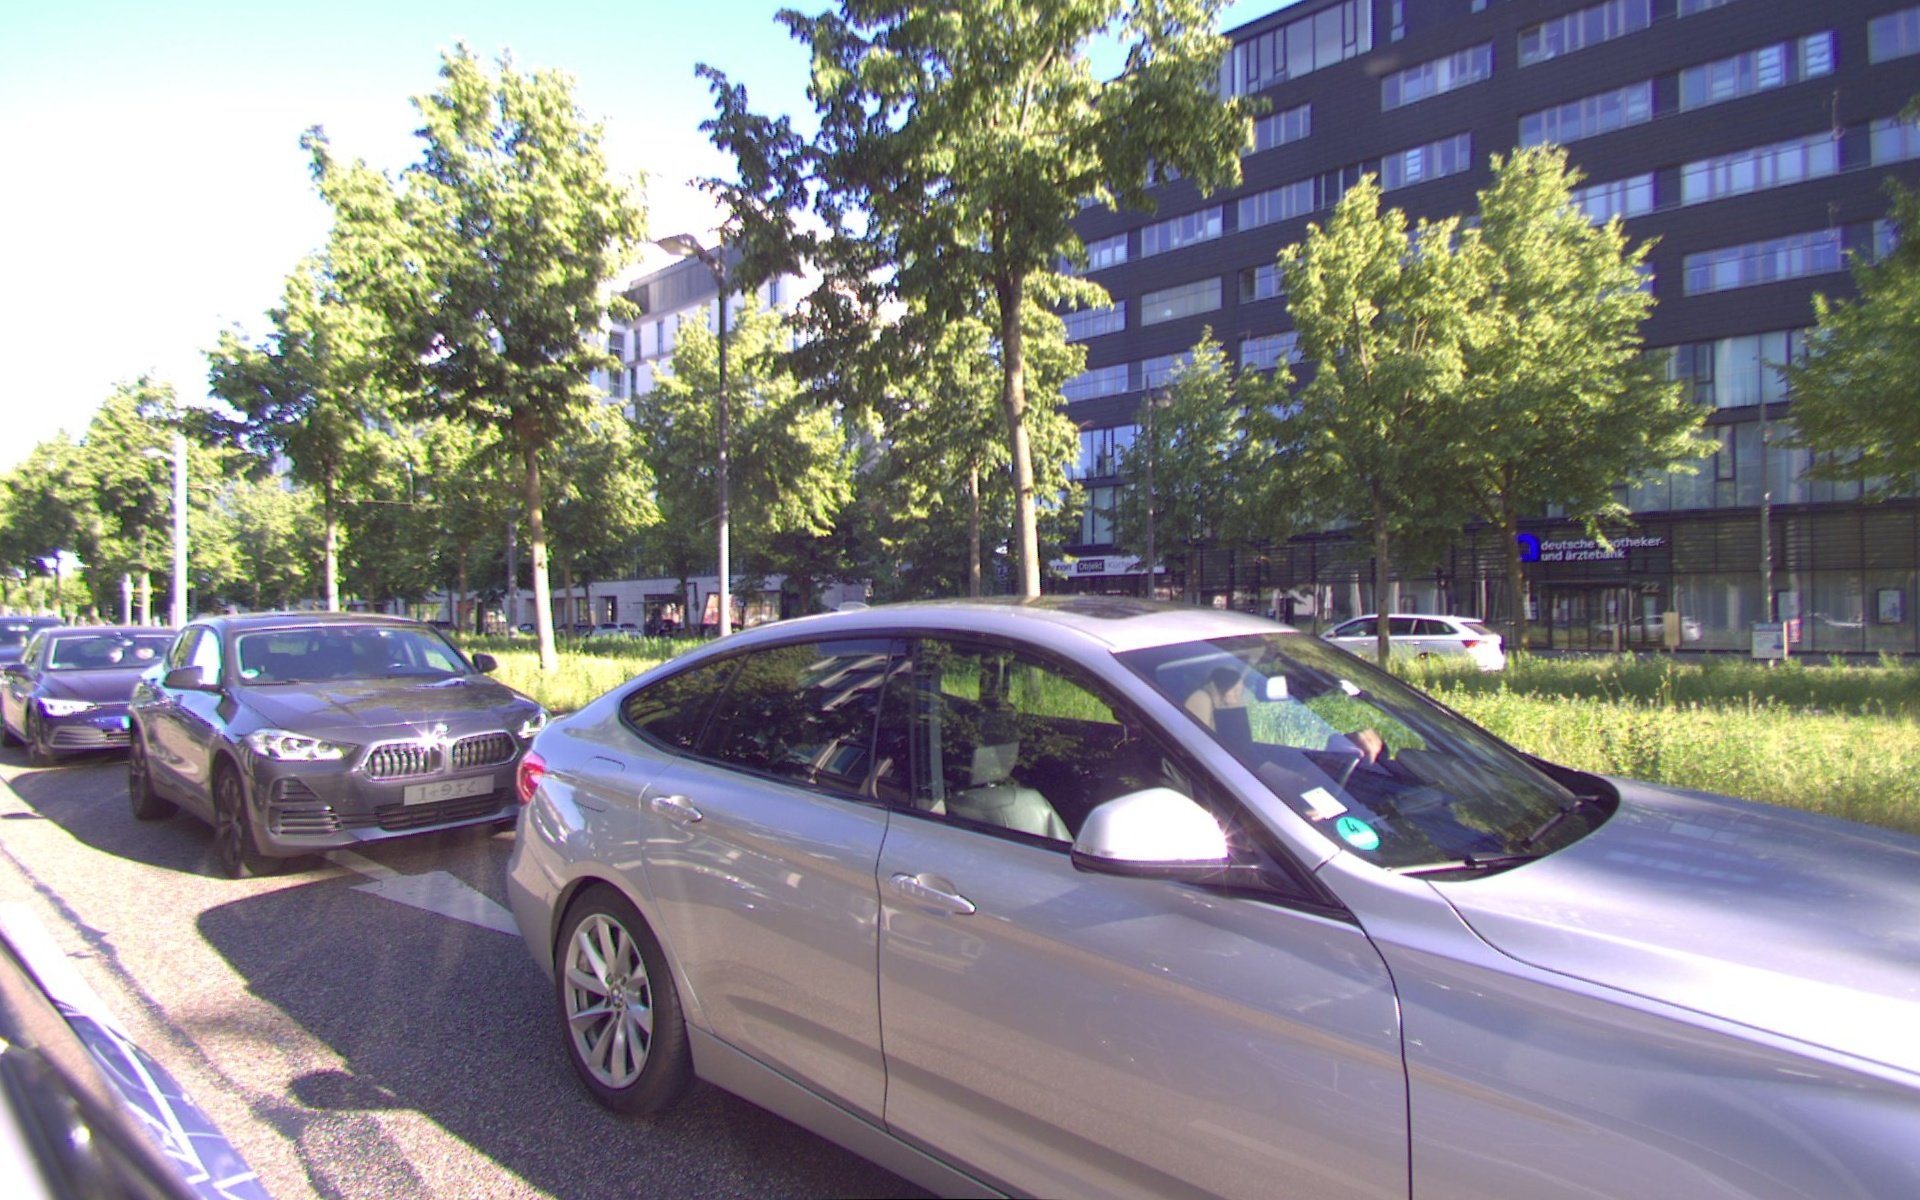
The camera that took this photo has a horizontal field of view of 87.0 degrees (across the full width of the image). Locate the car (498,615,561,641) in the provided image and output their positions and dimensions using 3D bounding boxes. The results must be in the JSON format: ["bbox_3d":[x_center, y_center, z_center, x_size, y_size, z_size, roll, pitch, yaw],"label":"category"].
[{"bbox_3d":[-29.722,1.920,69.818,4.785,1.711,1.988,-1,-1,38],"label":"car"}]

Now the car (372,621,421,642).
[{"bbox_3d":[-47.358,2.639,85.014,4.788,1.711,1.986,-1,-1,40],"label":"car"}]

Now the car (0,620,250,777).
[{"bbox_3d":[-9.824,0.979,11.664,4.253,1.465,1.789,-1,-1,42],"label":"car"}]

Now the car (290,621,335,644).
[{"bbox_3d":[-51.826,2.567,80.963,4.790,1.742,1.834,-1,-1,41],"label":"car"}]

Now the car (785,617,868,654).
[{"bbox_3d":[-6.550,1.709,49.417,3.998,1.762,1.834,-1,-1,41],"label":"car"}]

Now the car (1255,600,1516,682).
[{"bbox_3d":[8.869,0.818,21.370,4.733,1.549,1.834,-1,-1,41],"label":"car"}]

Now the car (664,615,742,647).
[{"bbox_3d":[-14.332,1.717,56.341,4.790,1.697,1.834,-1,-1,41],"label":"car"}]

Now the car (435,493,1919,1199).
[{"bbox_3d":[0.510,0.664,2.751,4.739,1.500,1.790,-1,-1,40],"label":"car"}]

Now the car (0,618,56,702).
[{"bbox_3d":[-21.593,1.276,22.184,4.788,1.711,1.986,-1,-1,40],"label":"car"}]

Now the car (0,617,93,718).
[{"bbox_3d":[-16.735,1.124,17.778,4.164,1.602,1.788,-1,-1,42],"label":"car"}]

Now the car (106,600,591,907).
[{"bbox_3d":[-4.440,0.810,7.093,4.027,1.534,1.789,-1,-1,41],"label":"car"}]

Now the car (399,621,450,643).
[{"bbox_3d":[-42.973,2.567,81.212,4.788,1.711,1.986,-1,-1,40],"label":"car"}]

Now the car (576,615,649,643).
[{"bbox_3d":[-21.750,1.810,63.243,4.785,1.711,1.988,-1,-1,38],"label":"car"}]

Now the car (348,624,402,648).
[{"bbox_3d":[-35.723,2.196,61.761,3.998,1.403,1.644,-1,-1,41],"label":"car"}]
